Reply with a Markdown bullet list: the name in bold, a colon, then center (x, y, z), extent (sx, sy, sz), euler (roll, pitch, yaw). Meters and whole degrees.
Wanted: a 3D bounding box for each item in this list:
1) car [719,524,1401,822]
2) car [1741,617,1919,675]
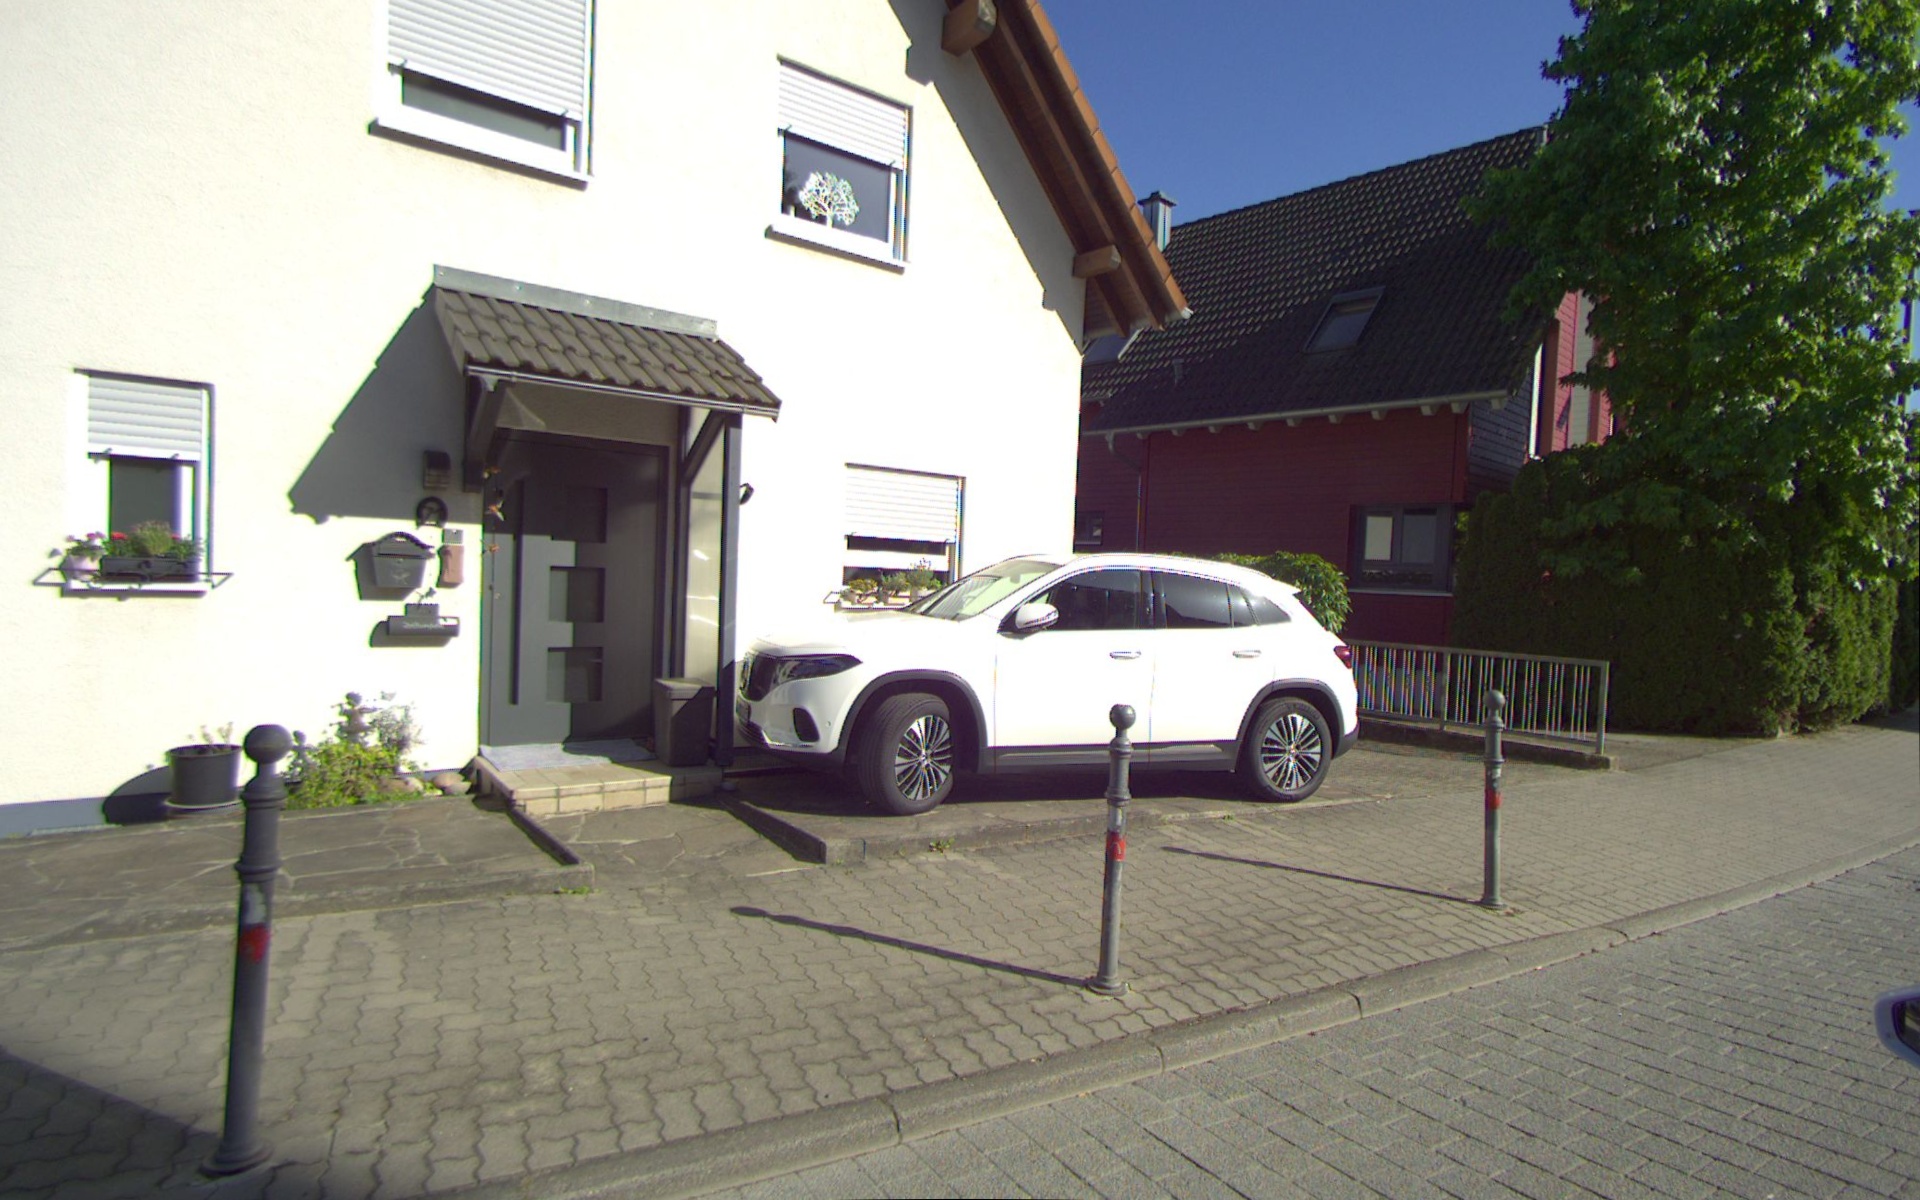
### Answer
- **car**: center (0.670, 0.428, 7.062), extent (4.379, 1.617, 1.814), euler (2, 2, -21)
- **car**: center (24.917, 1.246, 28.518), extent (1.836, 1.481, 4.117), euler (1, 0, -44)
